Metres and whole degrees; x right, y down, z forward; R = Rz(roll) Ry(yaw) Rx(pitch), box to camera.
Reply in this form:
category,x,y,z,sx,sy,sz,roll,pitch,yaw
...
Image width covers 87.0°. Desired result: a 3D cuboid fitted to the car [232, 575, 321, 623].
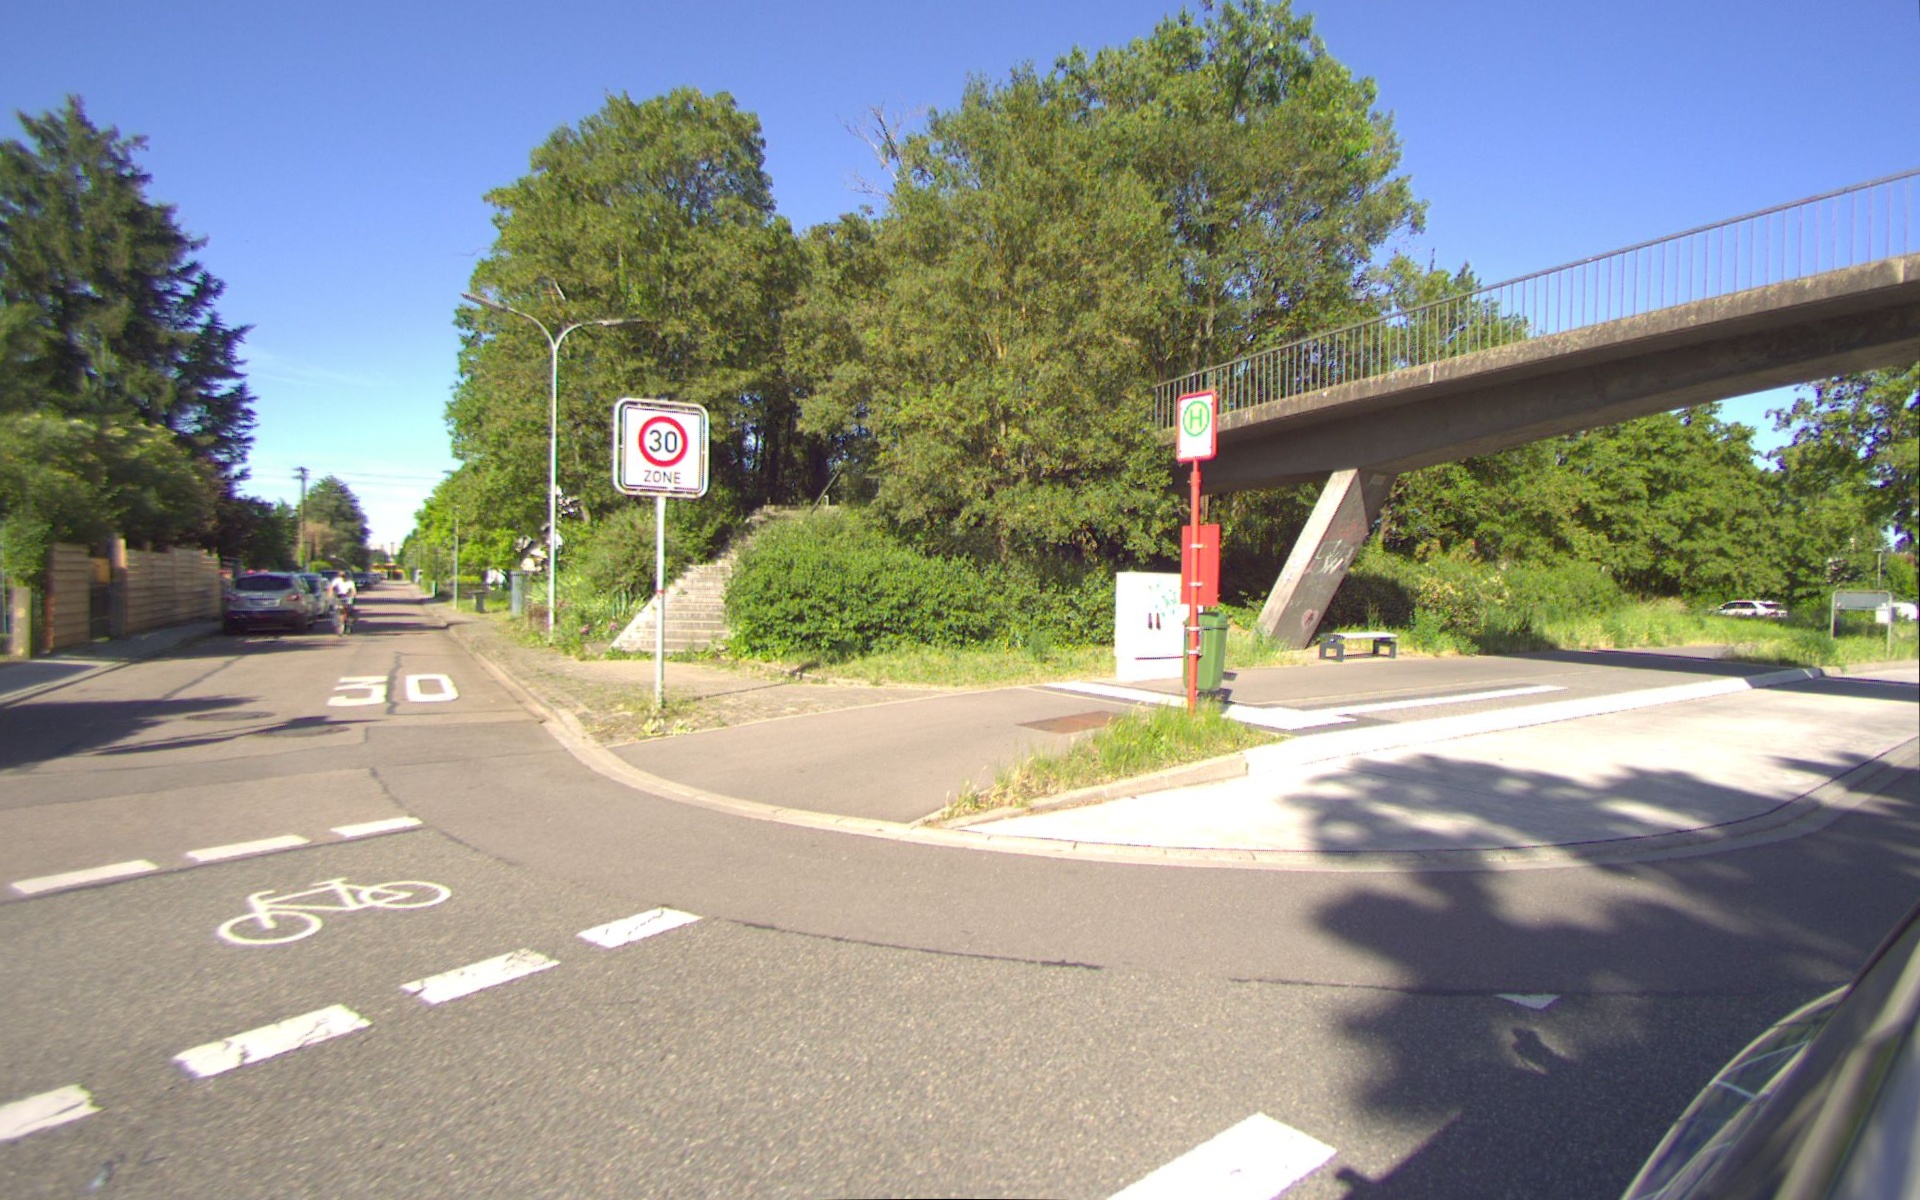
category,x,y,z,sx,sy,sz,roll,pitch,yaw
car,-21.374,-0.046,31.788,2.027,1.393,3.722,0,0,-30

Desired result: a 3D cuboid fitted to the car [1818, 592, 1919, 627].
category,x,y,z,sx,sy,sz,roll,pitch,yaw
car,50.714,0.522,55.900,1.893,1.824,4.651,3,0,-30

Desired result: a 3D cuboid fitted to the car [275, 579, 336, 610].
category,x,y,z,sx,sy,sz,roll,pitch,yaw
car,-28.462,-0.267,44.129,2.027,1.191,3.723,0,2,-30

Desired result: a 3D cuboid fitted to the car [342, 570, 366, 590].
category,x,y,z,sx,sy,sz,roll,pitch,yaw
car,-59.297,-1.941,99.064,1.911,1.849,3.723,0,2,-30

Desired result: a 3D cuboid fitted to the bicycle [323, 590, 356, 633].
category,x,y,z,sx,sy,sz,roll,pitch,yaw
bicycle,-16.128,0.279,26.350,0.690,1.055,2.424,0,1,-31

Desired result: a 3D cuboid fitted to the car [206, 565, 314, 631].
category,x,y,z,sx,sy,sz,roll,pitch,yaw
car,-18.282,-0.016,26.607,2.027,1.609,3.721,0,-1,-30

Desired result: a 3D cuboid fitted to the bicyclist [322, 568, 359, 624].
category,x,y,z,sx,sy,sz,roll,pitch,yaw
bicyclist,-15.971,-0.102,26.109,0.772,1.415,1.114,0,0,-31

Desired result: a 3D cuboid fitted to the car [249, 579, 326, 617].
category,x,y,z,sx,sy,sz,roll,pitch,yaw
car,-23.728,-0.103,35.824,2.027,1.191,3.723,0,2,-30

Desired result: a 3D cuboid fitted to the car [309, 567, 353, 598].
category,x,y,z,sx,sy,sz,roll,pitch,yaw
car,-36.496,-1.012,58.757,2.027,1.687,3.723,0,2,-30

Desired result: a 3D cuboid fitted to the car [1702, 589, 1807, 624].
category,x,y,z,sx,sy,sz,roll,pitch,yaw
car,47.687,0.358,60.844,2.030,1.892,4.537,3,0,-30
